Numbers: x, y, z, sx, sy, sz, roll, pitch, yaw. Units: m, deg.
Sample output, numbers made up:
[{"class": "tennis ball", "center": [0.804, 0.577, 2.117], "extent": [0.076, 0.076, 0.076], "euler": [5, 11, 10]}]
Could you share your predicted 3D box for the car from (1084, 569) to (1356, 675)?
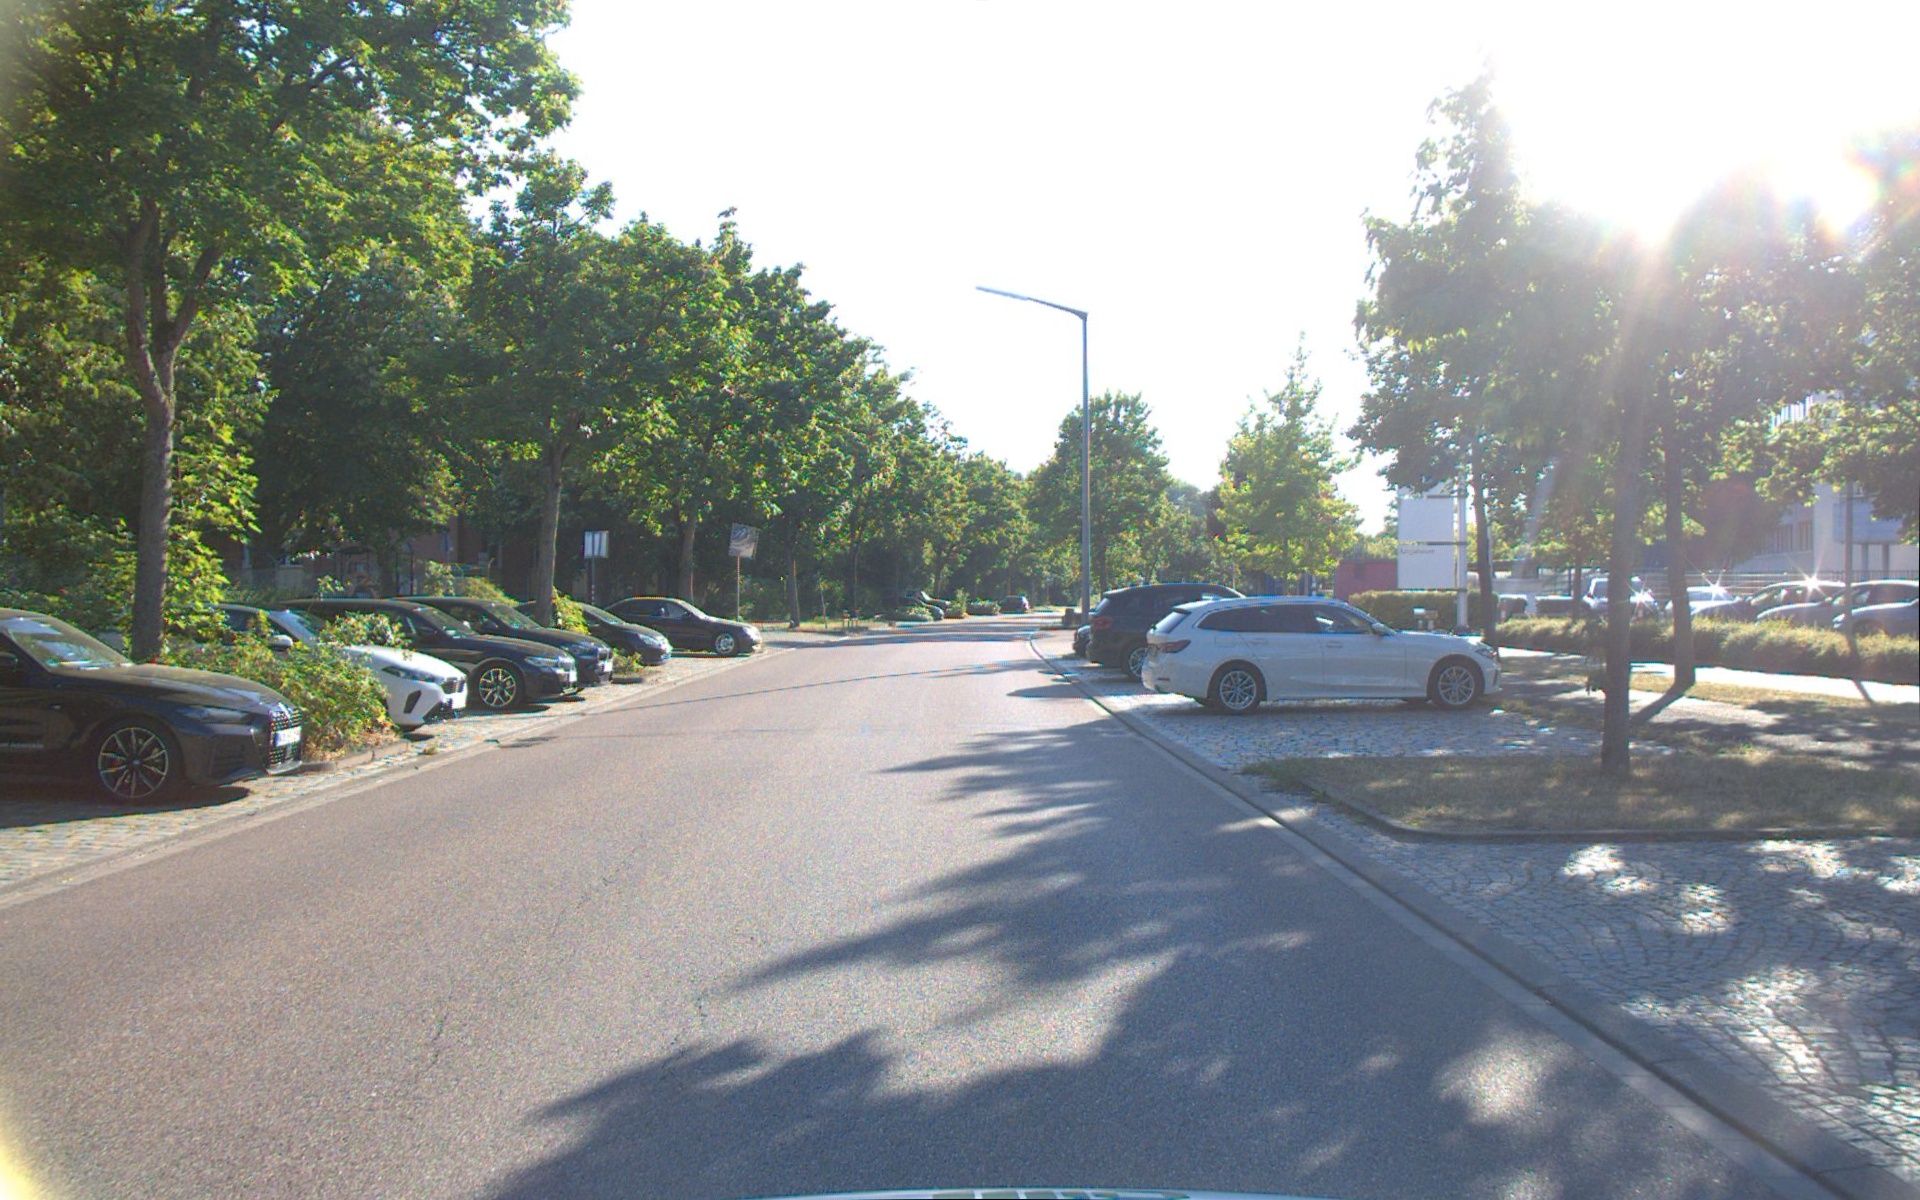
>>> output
[{"class": "car", "center": [4.511, 0.374, 29.338], "extent": [4.596, 1.781, 2.193], "euler": [0, 0, 4]}]

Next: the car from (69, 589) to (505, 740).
[{"class": "car", "center": [-7.700, 0.706, 19.248], "extent": [4.198, 1.557, 2.000], "euler": [1, 0, 0]}]

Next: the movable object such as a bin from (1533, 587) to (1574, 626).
[{"class": "movable object such as a bin", "center": [20.125, 0.207, 56.106], "extent": [1.093, 1.290, 1.039], "euler": [0, 0, 6]}]

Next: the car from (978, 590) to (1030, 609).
[{"class": "car", "center": [3.885, -0.047, 145.742], "extent": [4.265, 1.505, 2.002], "euler": [2, 1, 11]}]

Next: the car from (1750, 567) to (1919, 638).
[{"class": "car", "center": [20.115, 0.048, 36.229], "extent": [4.702, 1.489, 2.035], "euler": [-1, 0, 41]}]

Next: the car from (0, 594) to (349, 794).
[{"class": "car", "center": [-7.622, 0.694, 13.457], "extent": [4.556, 1.446, 1.916], "euler": [1, 0, -3]}]

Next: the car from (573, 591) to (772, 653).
[{"class": "car", "center": [-7.605, 0.565, 44.088], "extent": [4.932, 1.487, 2.000], "euler": [1, 0, -1]}]

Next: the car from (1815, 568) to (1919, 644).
[{"class": "car", "center": [19.837, 0.101, 32.892], "extent": [4.702, 1.489, 1.989], "euler": [-1, 0, 41]}]

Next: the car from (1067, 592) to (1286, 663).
[{"class": "car", "center": [4.545, 0.568, 35.264], "extent": [4.390, 1.428, 2.033], "euler": [0, 0, -1]}]

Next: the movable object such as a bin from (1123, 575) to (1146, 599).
[{"class": "movable object such as a bin", "center": [24.225, -1.783, 229.631], "extent": [2.778, 3.122, 4.931], "euler": [2, 1, 9]}]

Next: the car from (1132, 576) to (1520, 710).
[{"class": "car", "center": [4.683, 0.529, 21.687], "extent": [4.599, 1.505, 2.000], "euler": [-2, 0, -1]}]

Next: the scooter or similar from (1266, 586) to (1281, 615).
[{"class": "scooter or similar", "center": [14.230, 0.016, 75.091], "extent": [0.509, 1.294, 1.388], "euler": [0, 0, 5]}]

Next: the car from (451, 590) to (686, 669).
[{"class": "car", "center": [-8.065, 0.590, 34.372], "extent": [4.388, 1.487, 2.000], "euler": [1, 0, -1]}]

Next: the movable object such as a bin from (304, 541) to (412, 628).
[{"class": "movable object such as a bin", "center": [-19.679, -0.487, 53.954], "extent": [2.140, 2.711, 4.744], "euler": [-1, 0, -35]}]

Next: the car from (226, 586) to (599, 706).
[{"class": "car", "center": [-7.845, 0.643, 24.091], "extent": [4.754, 1.557, 1.999], "euler": [1, 0, -4]}]

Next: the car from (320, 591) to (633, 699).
[{"class": "car", "center": [-7.647, 0.695, 26.516], "extent": [4.388, 1.557, 2.000], "euler": [1, 0, -1]}]

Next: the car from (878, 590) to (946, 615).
[{"class": "car", "center": [-3.025, 0.153, 105.202], "extent": [4.122, 1.557, 1.707], "euler": [0, 0, 7]}]

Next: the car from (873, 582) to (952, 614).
[{"class": "car", "center": [-3.097, -0.120, 109.022], "extent": [4.898, 2.055, 2.176], "euler": [0, 0, 7]}]

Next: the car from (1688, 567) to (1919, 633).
[{"class": "car", "center": [20.296, 0.011, 39.806], "extent": [4.702, 1.489, 1.989], "euler": [-1, 0, 41]}]

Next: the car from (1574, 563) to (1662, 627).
[{"class": "car", "center": [20.469, -0.163, 51.642], "extent": [1.988, 1.860, 4.980], "euler": [-1, 0, 15]}]

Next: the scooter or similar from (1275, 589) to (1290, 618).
[{"class": "scooter or similar", "center": [14.354, 0.143, 73.623], "extent": [0.509, 1.294, 1.201], "euler": [0, 0, 5]}]

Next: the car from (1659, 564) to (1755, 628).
[{"class": "car", "center": [22.953, -0.145, 50.974], "extent": [1.988, 1.860, 4.564], "euler": [0, 0, 15]}]
